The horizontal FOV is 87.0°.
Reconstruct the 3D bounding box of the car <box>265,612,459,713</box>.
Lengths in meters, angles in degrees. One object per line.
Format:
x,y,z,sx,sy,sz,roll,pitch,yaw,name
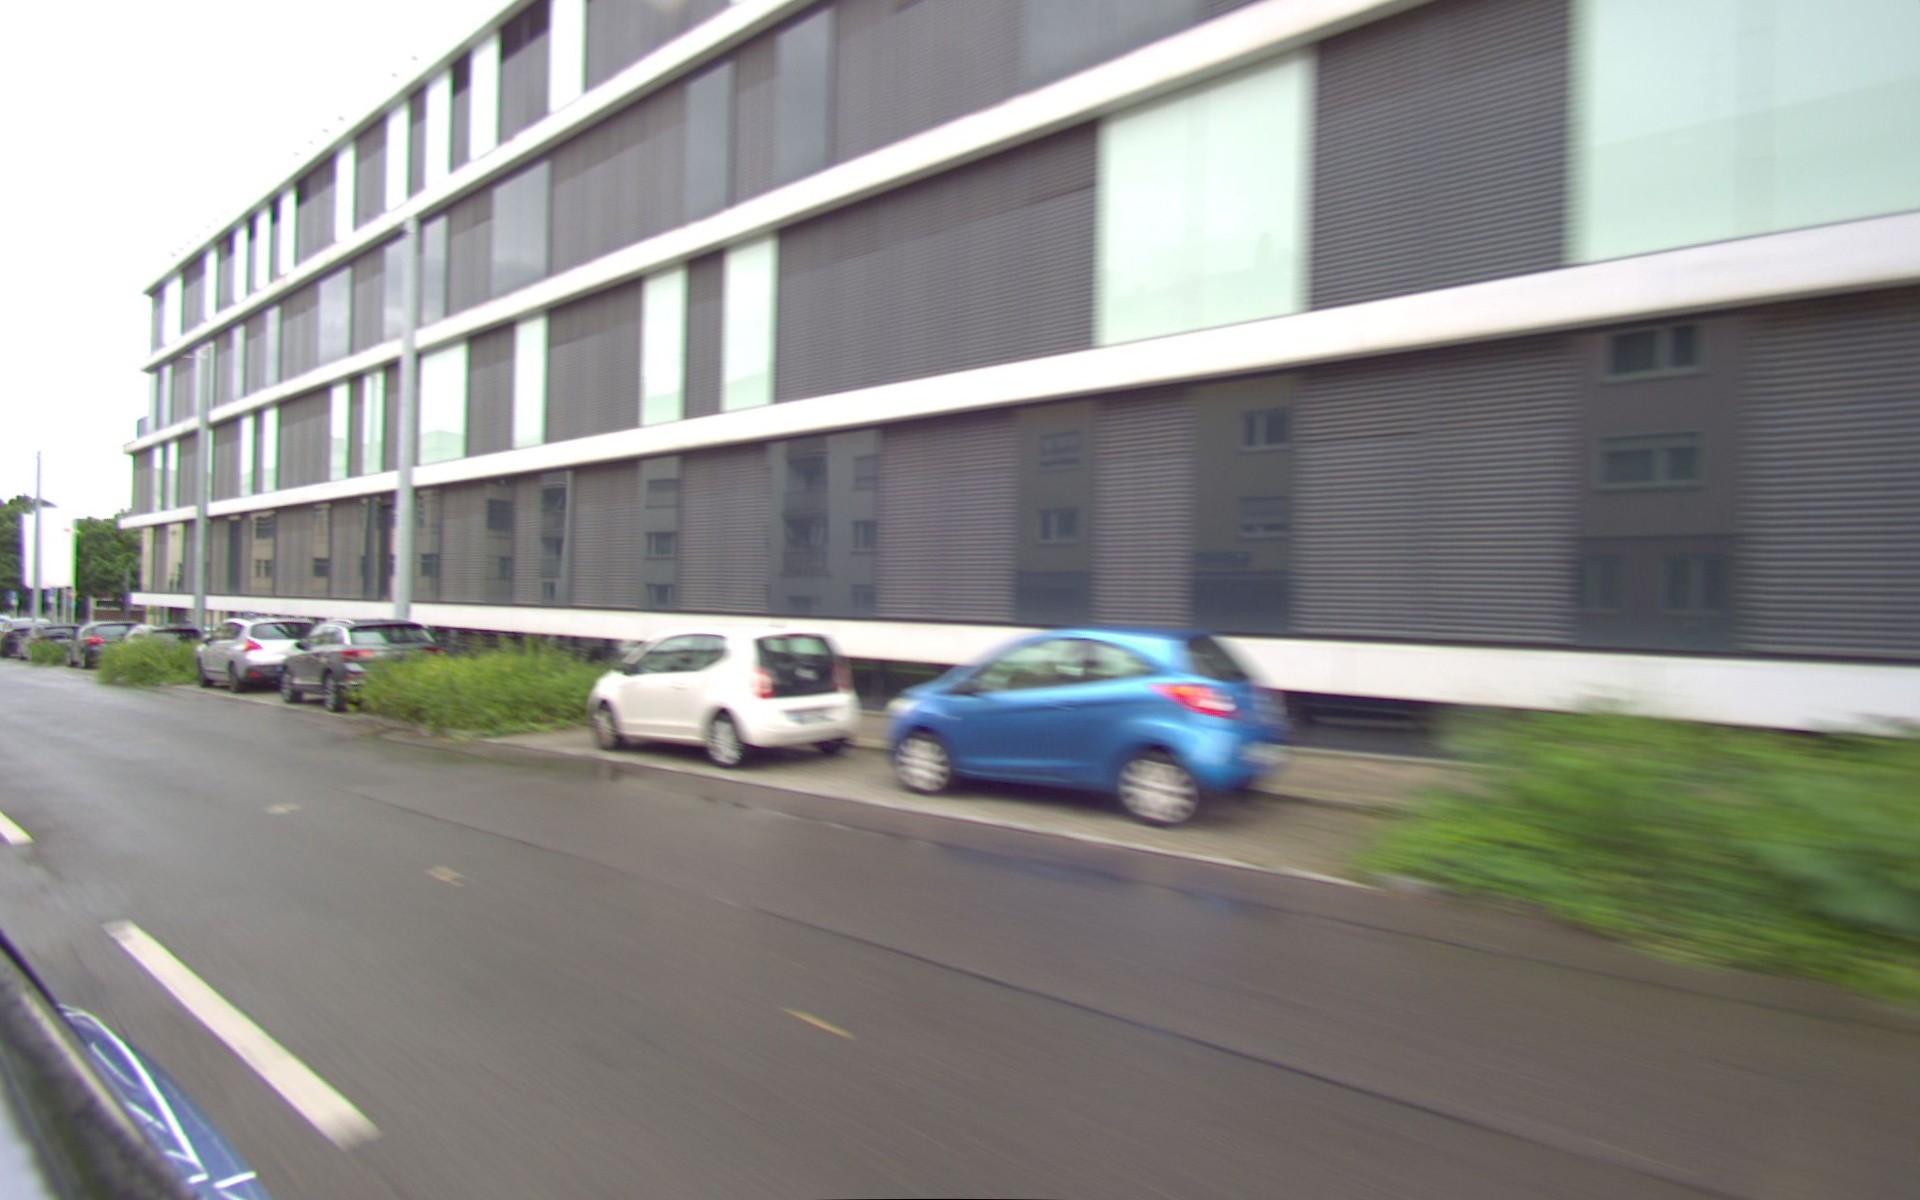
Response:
-11.039,1.042,18.553,4.362,1.601,1.862,-1,0,42,car

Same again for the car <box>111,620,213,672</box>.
-23.176,1.290,29.348,4.038,1.404,1.545,-1,-1,41,car

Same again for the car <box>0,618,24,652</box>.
-46.679,1.670,48.917,4.038,1.597,1.621,-1,-1,41,car

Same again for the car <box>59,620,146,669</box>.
-27.957,1.399,32.962,4.038,1.483,1.545,-1,-1,41,car

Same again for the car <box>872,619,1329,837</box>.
1.103,0.914,8.700,3.579,1.478,1.621,-1,-2,39,car

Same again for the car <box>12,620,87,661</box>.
-34.745,1.499,38.594,4.038,1.483,1.621,-1,-1,41,car

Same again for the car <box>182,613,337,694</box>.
-15.759,1.115,22.683,4.360,1.601,1.811,-1,0,40,car

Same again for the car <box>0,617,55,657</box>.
-39.379,1.519,42.426,4.038,1.597,1.621,-1,-1,41,car

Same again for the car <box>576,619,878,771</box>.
-2.776,0.969,11.705,3.582,1.478,1.620,-1,-2,41,car
